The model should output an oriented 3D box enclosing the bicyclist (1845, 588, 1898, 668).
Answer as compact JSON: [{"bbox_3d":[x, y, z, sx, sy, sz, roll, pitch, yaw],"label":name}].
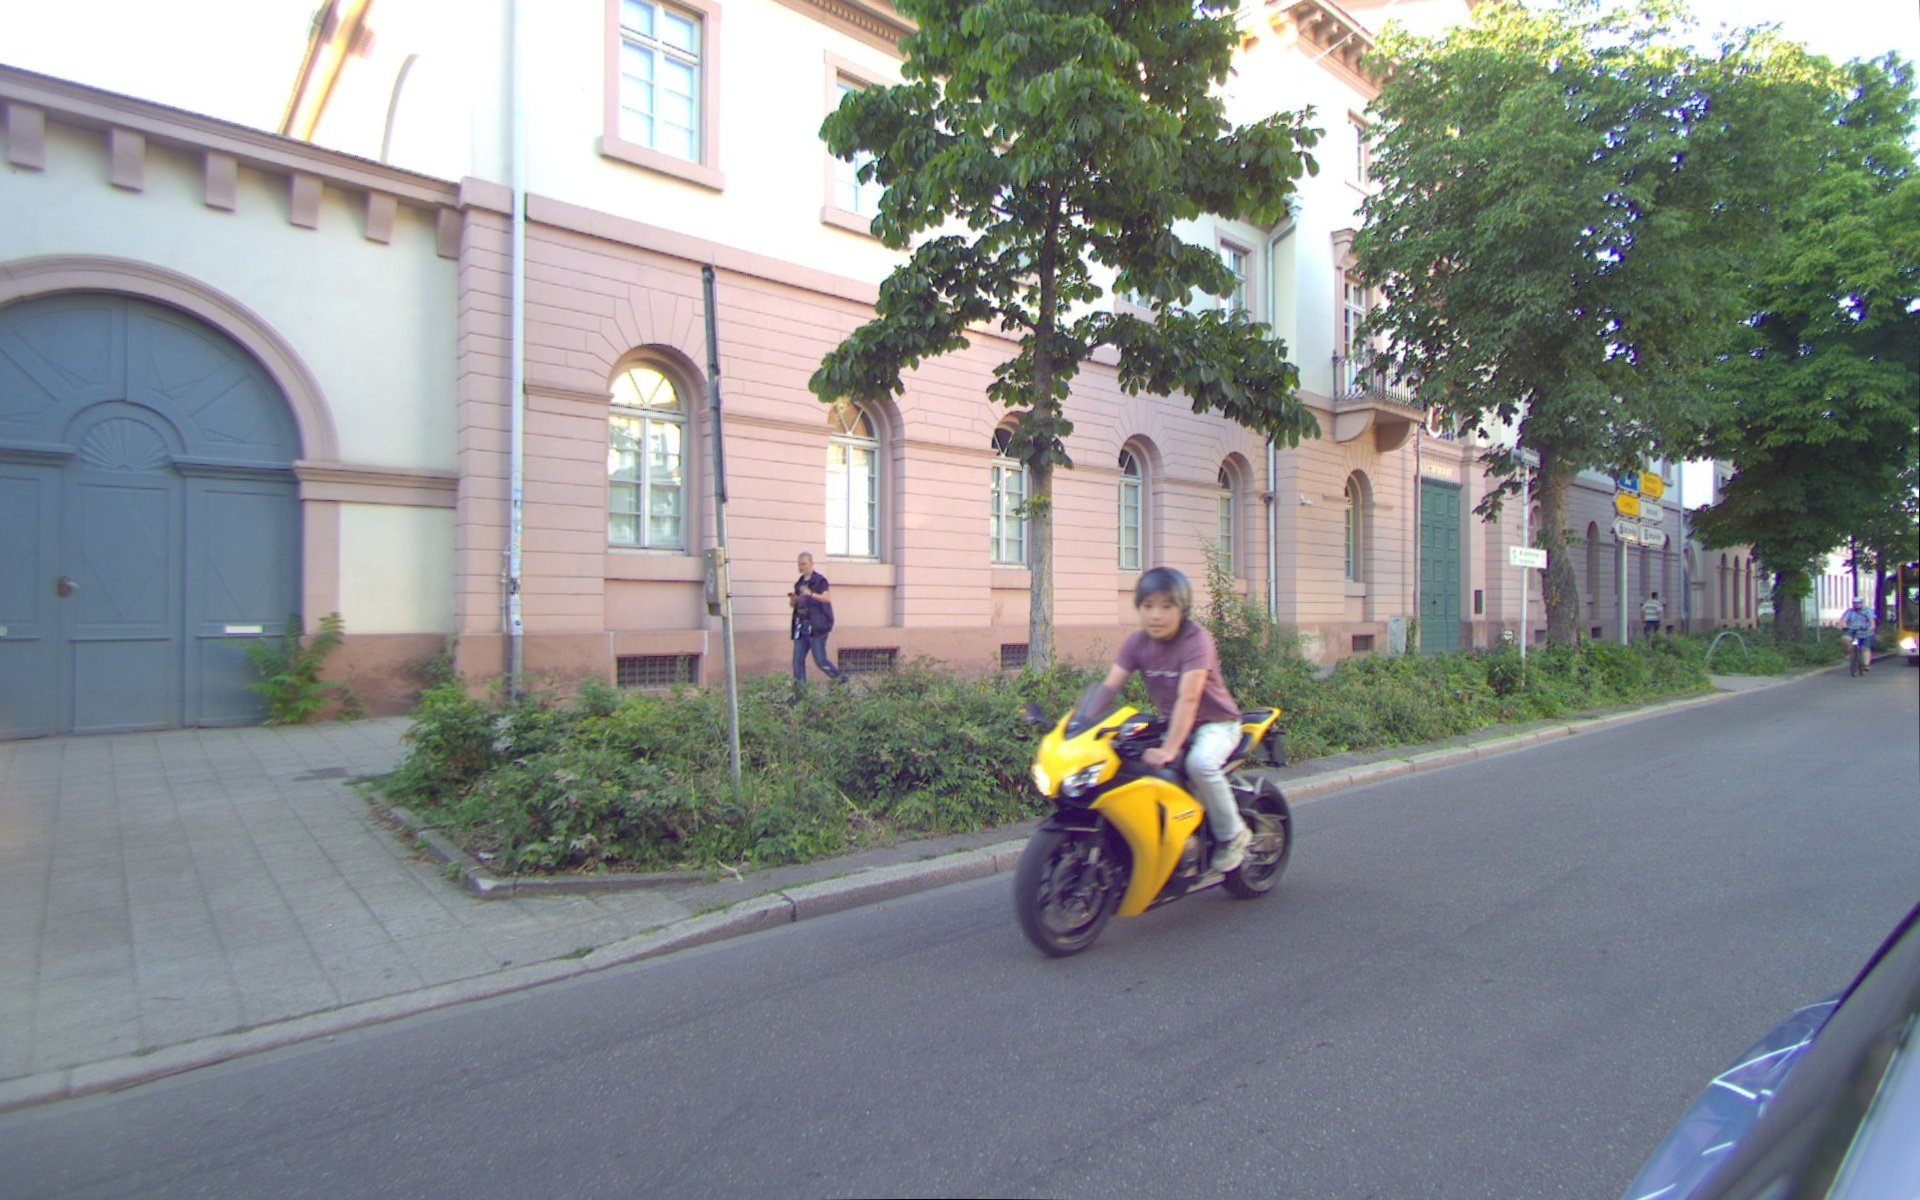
[{"bbox_3d":[21.648,0.660,24.040,0.812,1.863,0.782,1,-3,-41],"label":"bicyclist"}]

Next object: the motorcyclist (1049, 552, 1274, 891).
[{"bbox_3d":[0.956,0.522,4.838,0.687,1.438,0.791,1,-2,-44],"label":"motorcyclist"}]

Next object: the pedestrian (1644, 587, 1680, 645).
[{"bbox_3d":[22.825,0.499,32.898,0.914,1.855,0.799,1,-1,-43],"label":"pedestrian"}]

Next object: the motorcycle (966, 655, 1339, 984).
[{"bbox_3d":[0.995,0.894,4.859,1.934,1.175,0.791,0,-2,-45],"label":"motorcycle"}]

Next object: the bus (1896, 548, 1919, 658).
[{"bbox_3d":[31.669,0.087,31.271,11.871,3.039,2.708,0,-2,-41],"label":"bus"}]

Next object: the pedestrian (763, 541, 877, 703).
[{"bbox_3d":[-1.701,0.243,12.351,1.064,1.861,0.799,1,1,-43],"label":"pedestrian"}]

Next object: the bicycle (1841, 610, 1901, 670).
[{"bbox_3d":[21.617,0.929,23.996,2.042,1.347,0.782,0,-2,-42],"label":"bicycle"}]
